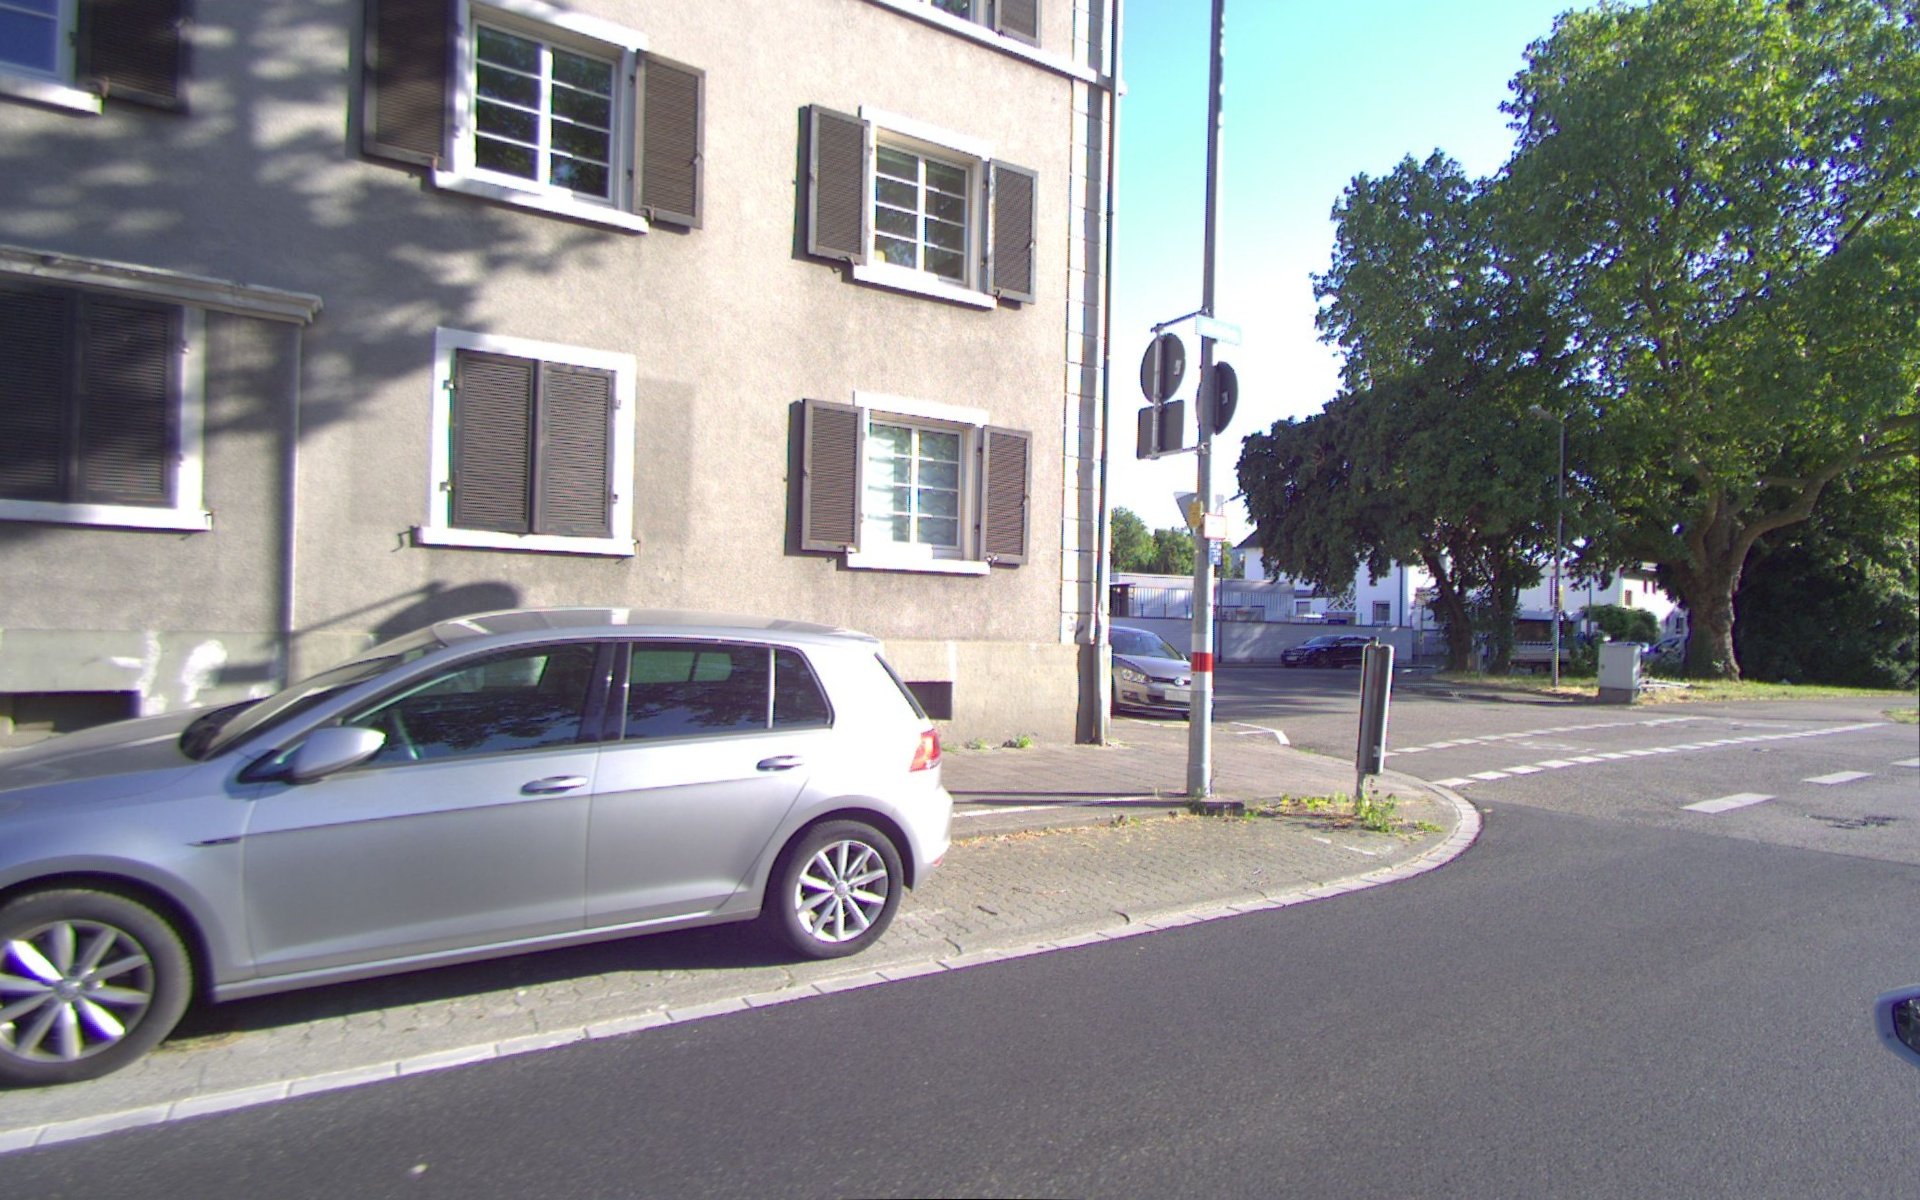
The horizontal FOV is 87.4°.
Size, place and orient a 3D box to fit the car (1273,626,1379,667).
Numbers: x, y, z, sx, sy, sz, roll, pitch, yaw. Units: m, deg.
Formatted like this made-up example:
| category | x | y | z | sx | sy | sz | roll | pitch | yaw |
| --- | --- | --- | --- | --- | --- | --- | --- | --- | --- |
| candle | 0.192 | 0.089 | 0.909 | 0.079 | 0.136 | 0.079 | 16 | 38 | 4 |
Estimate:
| category | x | y | z | sx | sy | sz | roll | pitch | yaw |
| --- | --- | --- | --- | --- | --- | --- | --- | --- | --- |
| car | 15.135 | 1.910 | 41.511 | 4.310 | 1.582 | 1.849 | 2 | -1 | -32 |

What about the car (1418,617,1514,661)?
| category | x | y | z | sx | sy | sz | roll | pitch | yaw |
| --- | --- | --- | --- | --- | --- | --- | --- | --- | --- |
| car | 27.598 | 2.089 | 54.895 | 1.977 | 2.319 | 4.295 | 2 | -2 | -30 |

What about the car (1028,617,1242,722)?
| category | x | y | z | sx | sy | sz | roll | pitch | yaw |
| --- | --- | --- | --- | --- | --- | --- | --- | --- | --- |
| car | 2.819 | 1.106 | 17.144 | 1.885 | 1.436 | 3.985 | 6 | -2 | -18 |

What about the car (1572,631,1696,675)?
| category | x | y | z | sx | sy | sz | roll | pitch | yaw |
| --- | --- | --- | --- | --- | --- | --- | --- | --- | --- |
| car | 28.060 | 2.182 | 41.908 | 1.708 | 1.706 | 3.966 | 2 | -2 | -31 |

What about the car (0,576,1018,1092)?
| category | x | y | z | sx | sy | sz | roll | pitch | yaw |
| --- | --- | --- | --- | --- | --- | --- | --- | --- | --- |
| car | -1.937 | 0.734 | 4.482 | 4.058 | 1.503 | 1.753 | 2 | 1 | -29 |
